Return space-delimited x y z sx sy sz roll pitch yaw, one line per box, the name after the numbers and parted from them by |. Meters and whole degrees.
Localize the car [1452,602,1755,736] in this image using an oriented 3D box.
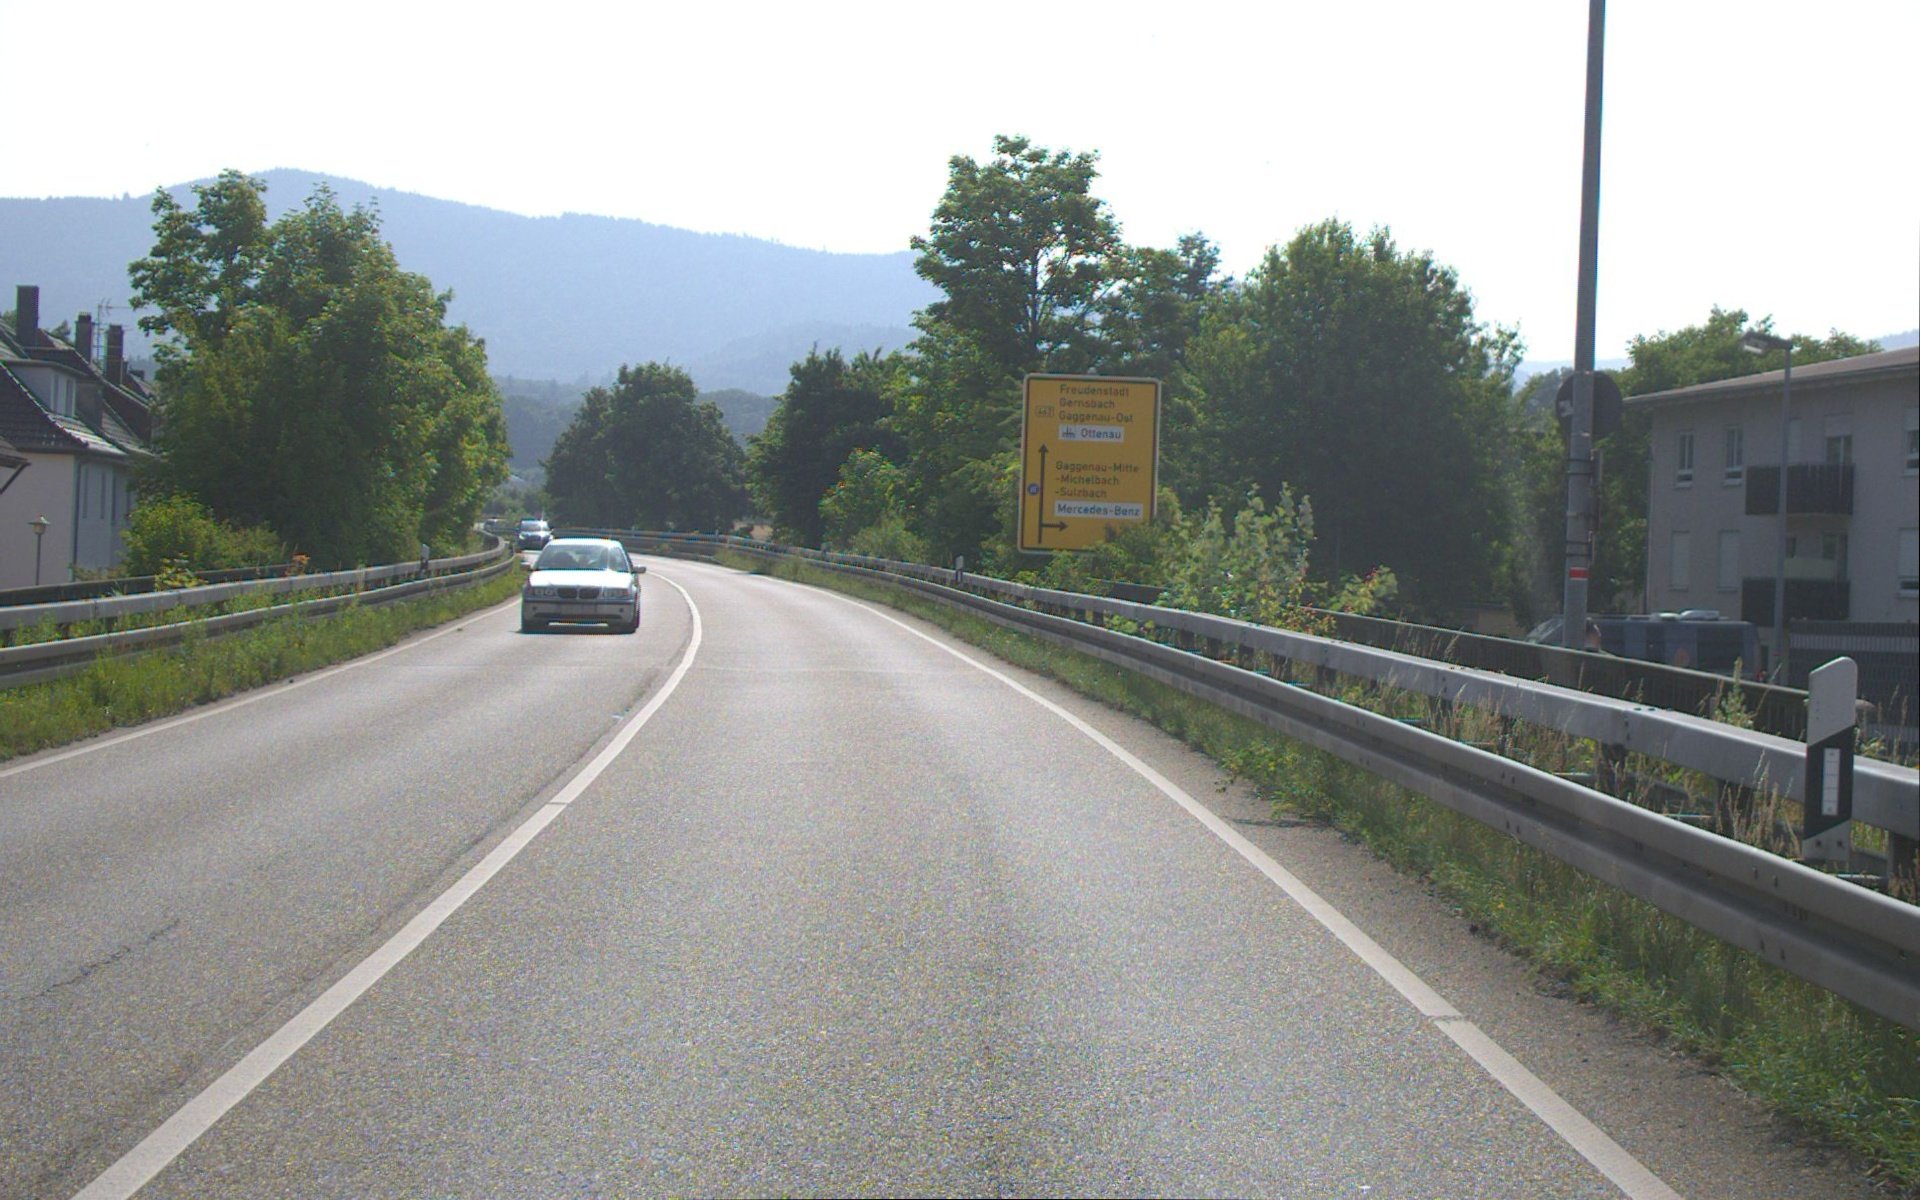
14.115 1.542 75.600 6.072 2.679 2.313 2 -3 -4 | car

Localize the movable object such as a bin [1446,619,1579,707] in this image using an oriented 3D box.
14.033 1.592 87.387 2.914 2.007 1.713 3 1 -4 | movable object such as a bin

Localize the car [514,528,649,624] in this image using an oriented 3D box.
-5.795 -0.390 52.968 1.758 1.406 3.990 0 1 -2 | car

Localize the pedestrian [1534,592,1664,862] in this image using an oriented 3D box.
4.904 0.954 26.434 0.788 2.007 0.997 1 1 1 | pedestrian

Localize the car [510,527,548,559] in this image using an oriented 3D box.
-21.347 -2.823 170.204 1.807 1.555 3.993 0 1 -6 | car

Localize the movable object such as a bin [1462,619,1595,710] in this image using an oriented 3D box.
13.759 1.544 83.302 2.783 2.007 1.588 3 1 -4 | movable object such as a bin
